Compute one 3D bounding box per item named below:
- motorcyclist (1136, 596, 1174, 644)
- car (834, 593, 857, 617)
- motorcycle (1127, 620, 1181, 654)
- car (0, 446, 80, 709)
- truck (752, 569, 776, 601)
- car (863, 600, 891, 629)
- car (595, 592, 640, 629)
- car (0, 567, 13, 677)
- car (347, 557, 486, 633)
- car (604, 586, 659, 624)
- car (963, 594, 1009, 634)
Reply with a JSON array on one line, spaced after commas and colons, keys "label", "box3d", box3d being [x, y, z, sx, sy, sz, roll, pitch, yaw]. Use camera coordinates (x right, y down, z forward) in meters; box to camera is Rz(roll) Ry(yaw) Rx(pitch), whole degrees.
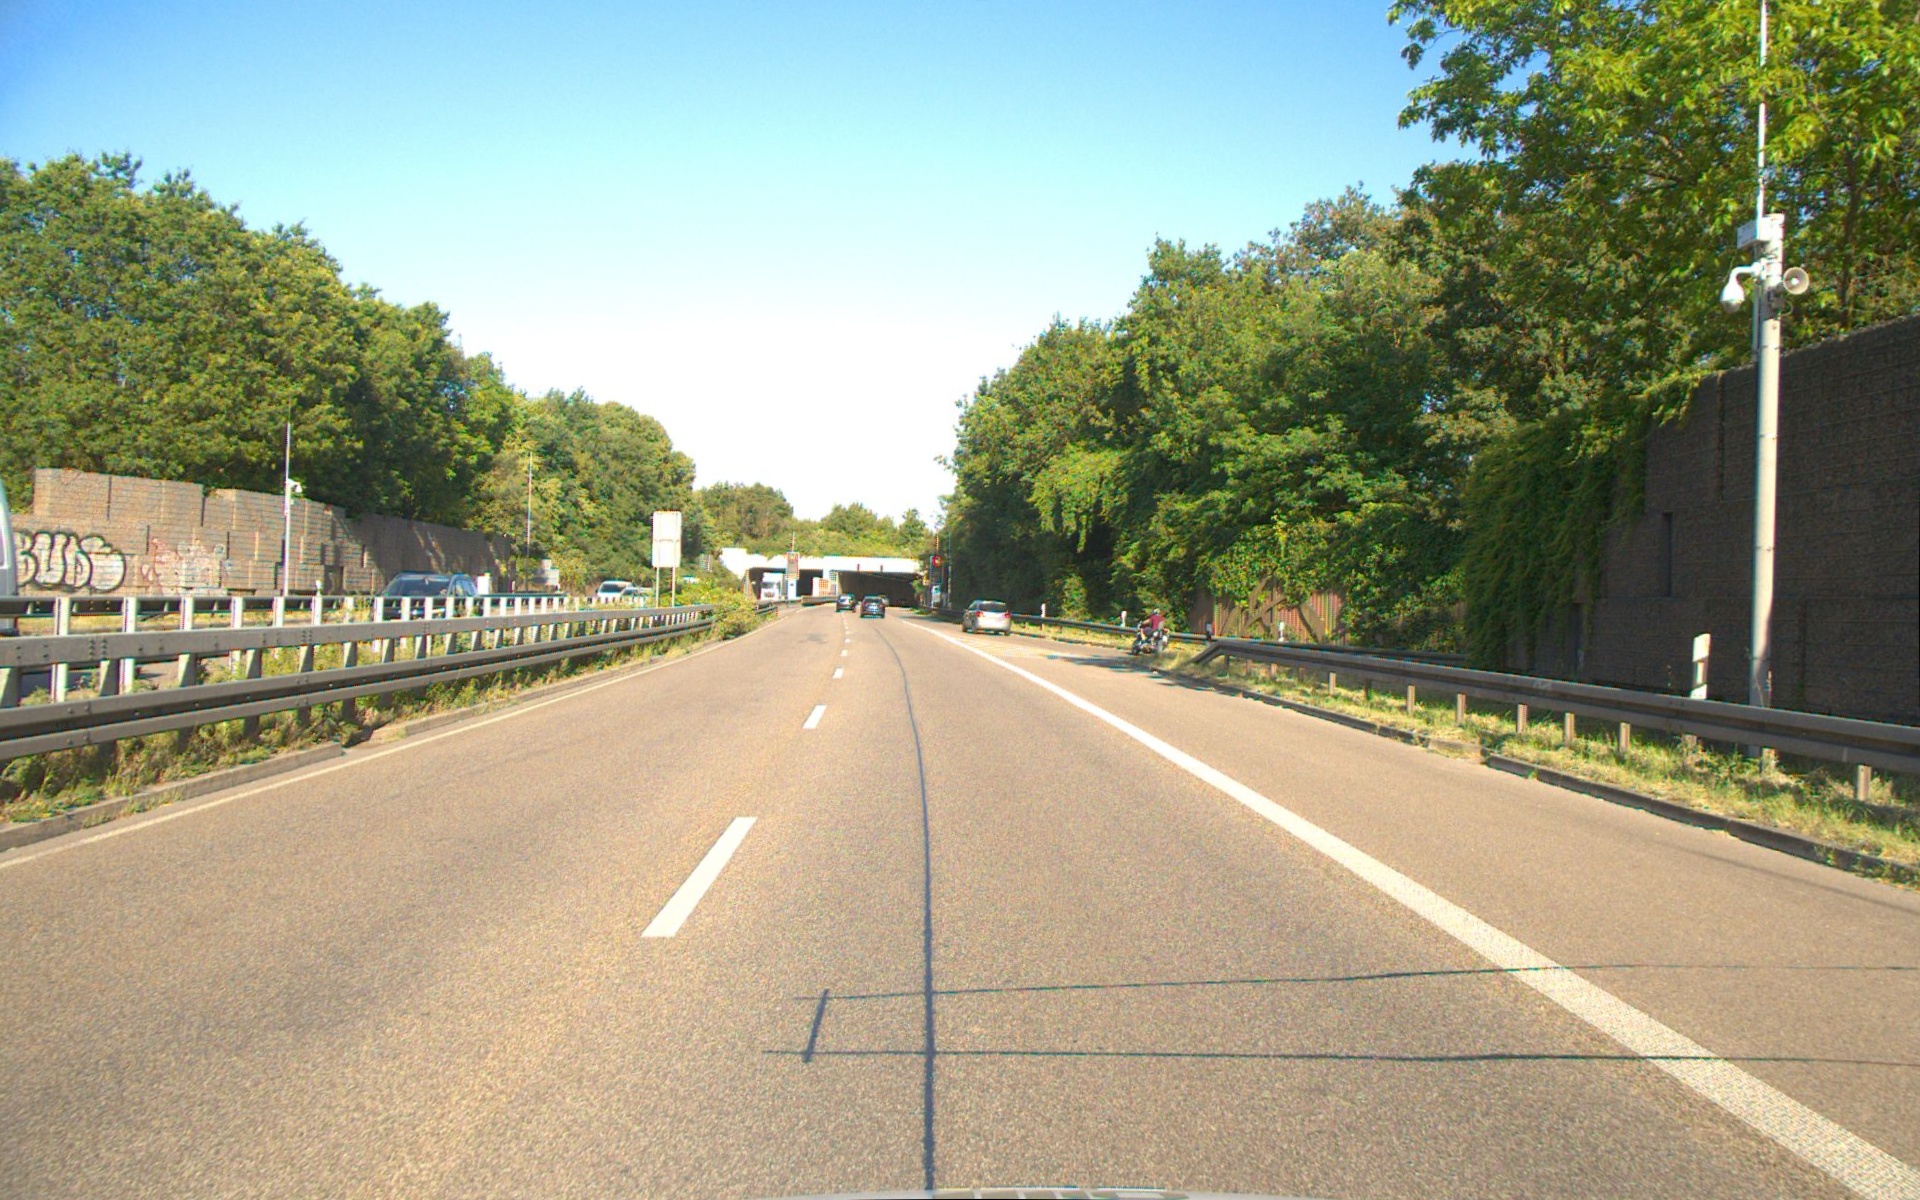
[{"label": "motorcyclist", "box3d": [6.471, 0.661, 54.963, 0.868, 1.527, 1.060, 3, 1, -13]}, {"label": "car", "box3d": [-10.247, 0.443, 148.130, 1.954, 1.959, 3.998, 2, 1, -3]}, {"label": "motorcycle", "box3d": [6.428, 1.208, 54.983, 0.844, 1.008, 2.719, 3, 0, -13]}, {"label": "car", "box3d": [-10.977, -0.259, 15.273, 2.078, 2.729, 6.588, 3, 1, 0]}, {"label": "truck", "box3d": [-27.273, -2.134, 230.852, 2.681, 4.335, 6.383, 3, 1, -3]}, {"label": "car", "box3d": [-6.004, 1.042, 119.573, 1.954, 1.959, 3.998, 2, 1, -3]}, {"label": "car", "box3d": [-19.457, 0.565, 94.092, 1.786, 1.853, 4.618, 3, 1, -3]}, {"label": "car", "box3d": [-15.291, 0.311, 22.744, 1.863, 1.648, 4.695, 3, 1, -2]}, {"label": "car", "box3d": [-12.335, -0.149, 37.819, 1.954, 1.606, 4.245, 1, 1, -3]}, {"label": "car", "box3d": [-14.704, 0.215, 74.150, 1.786, 1.506, 4.618, 3, 1, -4]}, {"label": "car", "box3d": [1.123, 0.591, 73.142, 1.634, 1.579, 3.998, 3, 1, -4]}]
